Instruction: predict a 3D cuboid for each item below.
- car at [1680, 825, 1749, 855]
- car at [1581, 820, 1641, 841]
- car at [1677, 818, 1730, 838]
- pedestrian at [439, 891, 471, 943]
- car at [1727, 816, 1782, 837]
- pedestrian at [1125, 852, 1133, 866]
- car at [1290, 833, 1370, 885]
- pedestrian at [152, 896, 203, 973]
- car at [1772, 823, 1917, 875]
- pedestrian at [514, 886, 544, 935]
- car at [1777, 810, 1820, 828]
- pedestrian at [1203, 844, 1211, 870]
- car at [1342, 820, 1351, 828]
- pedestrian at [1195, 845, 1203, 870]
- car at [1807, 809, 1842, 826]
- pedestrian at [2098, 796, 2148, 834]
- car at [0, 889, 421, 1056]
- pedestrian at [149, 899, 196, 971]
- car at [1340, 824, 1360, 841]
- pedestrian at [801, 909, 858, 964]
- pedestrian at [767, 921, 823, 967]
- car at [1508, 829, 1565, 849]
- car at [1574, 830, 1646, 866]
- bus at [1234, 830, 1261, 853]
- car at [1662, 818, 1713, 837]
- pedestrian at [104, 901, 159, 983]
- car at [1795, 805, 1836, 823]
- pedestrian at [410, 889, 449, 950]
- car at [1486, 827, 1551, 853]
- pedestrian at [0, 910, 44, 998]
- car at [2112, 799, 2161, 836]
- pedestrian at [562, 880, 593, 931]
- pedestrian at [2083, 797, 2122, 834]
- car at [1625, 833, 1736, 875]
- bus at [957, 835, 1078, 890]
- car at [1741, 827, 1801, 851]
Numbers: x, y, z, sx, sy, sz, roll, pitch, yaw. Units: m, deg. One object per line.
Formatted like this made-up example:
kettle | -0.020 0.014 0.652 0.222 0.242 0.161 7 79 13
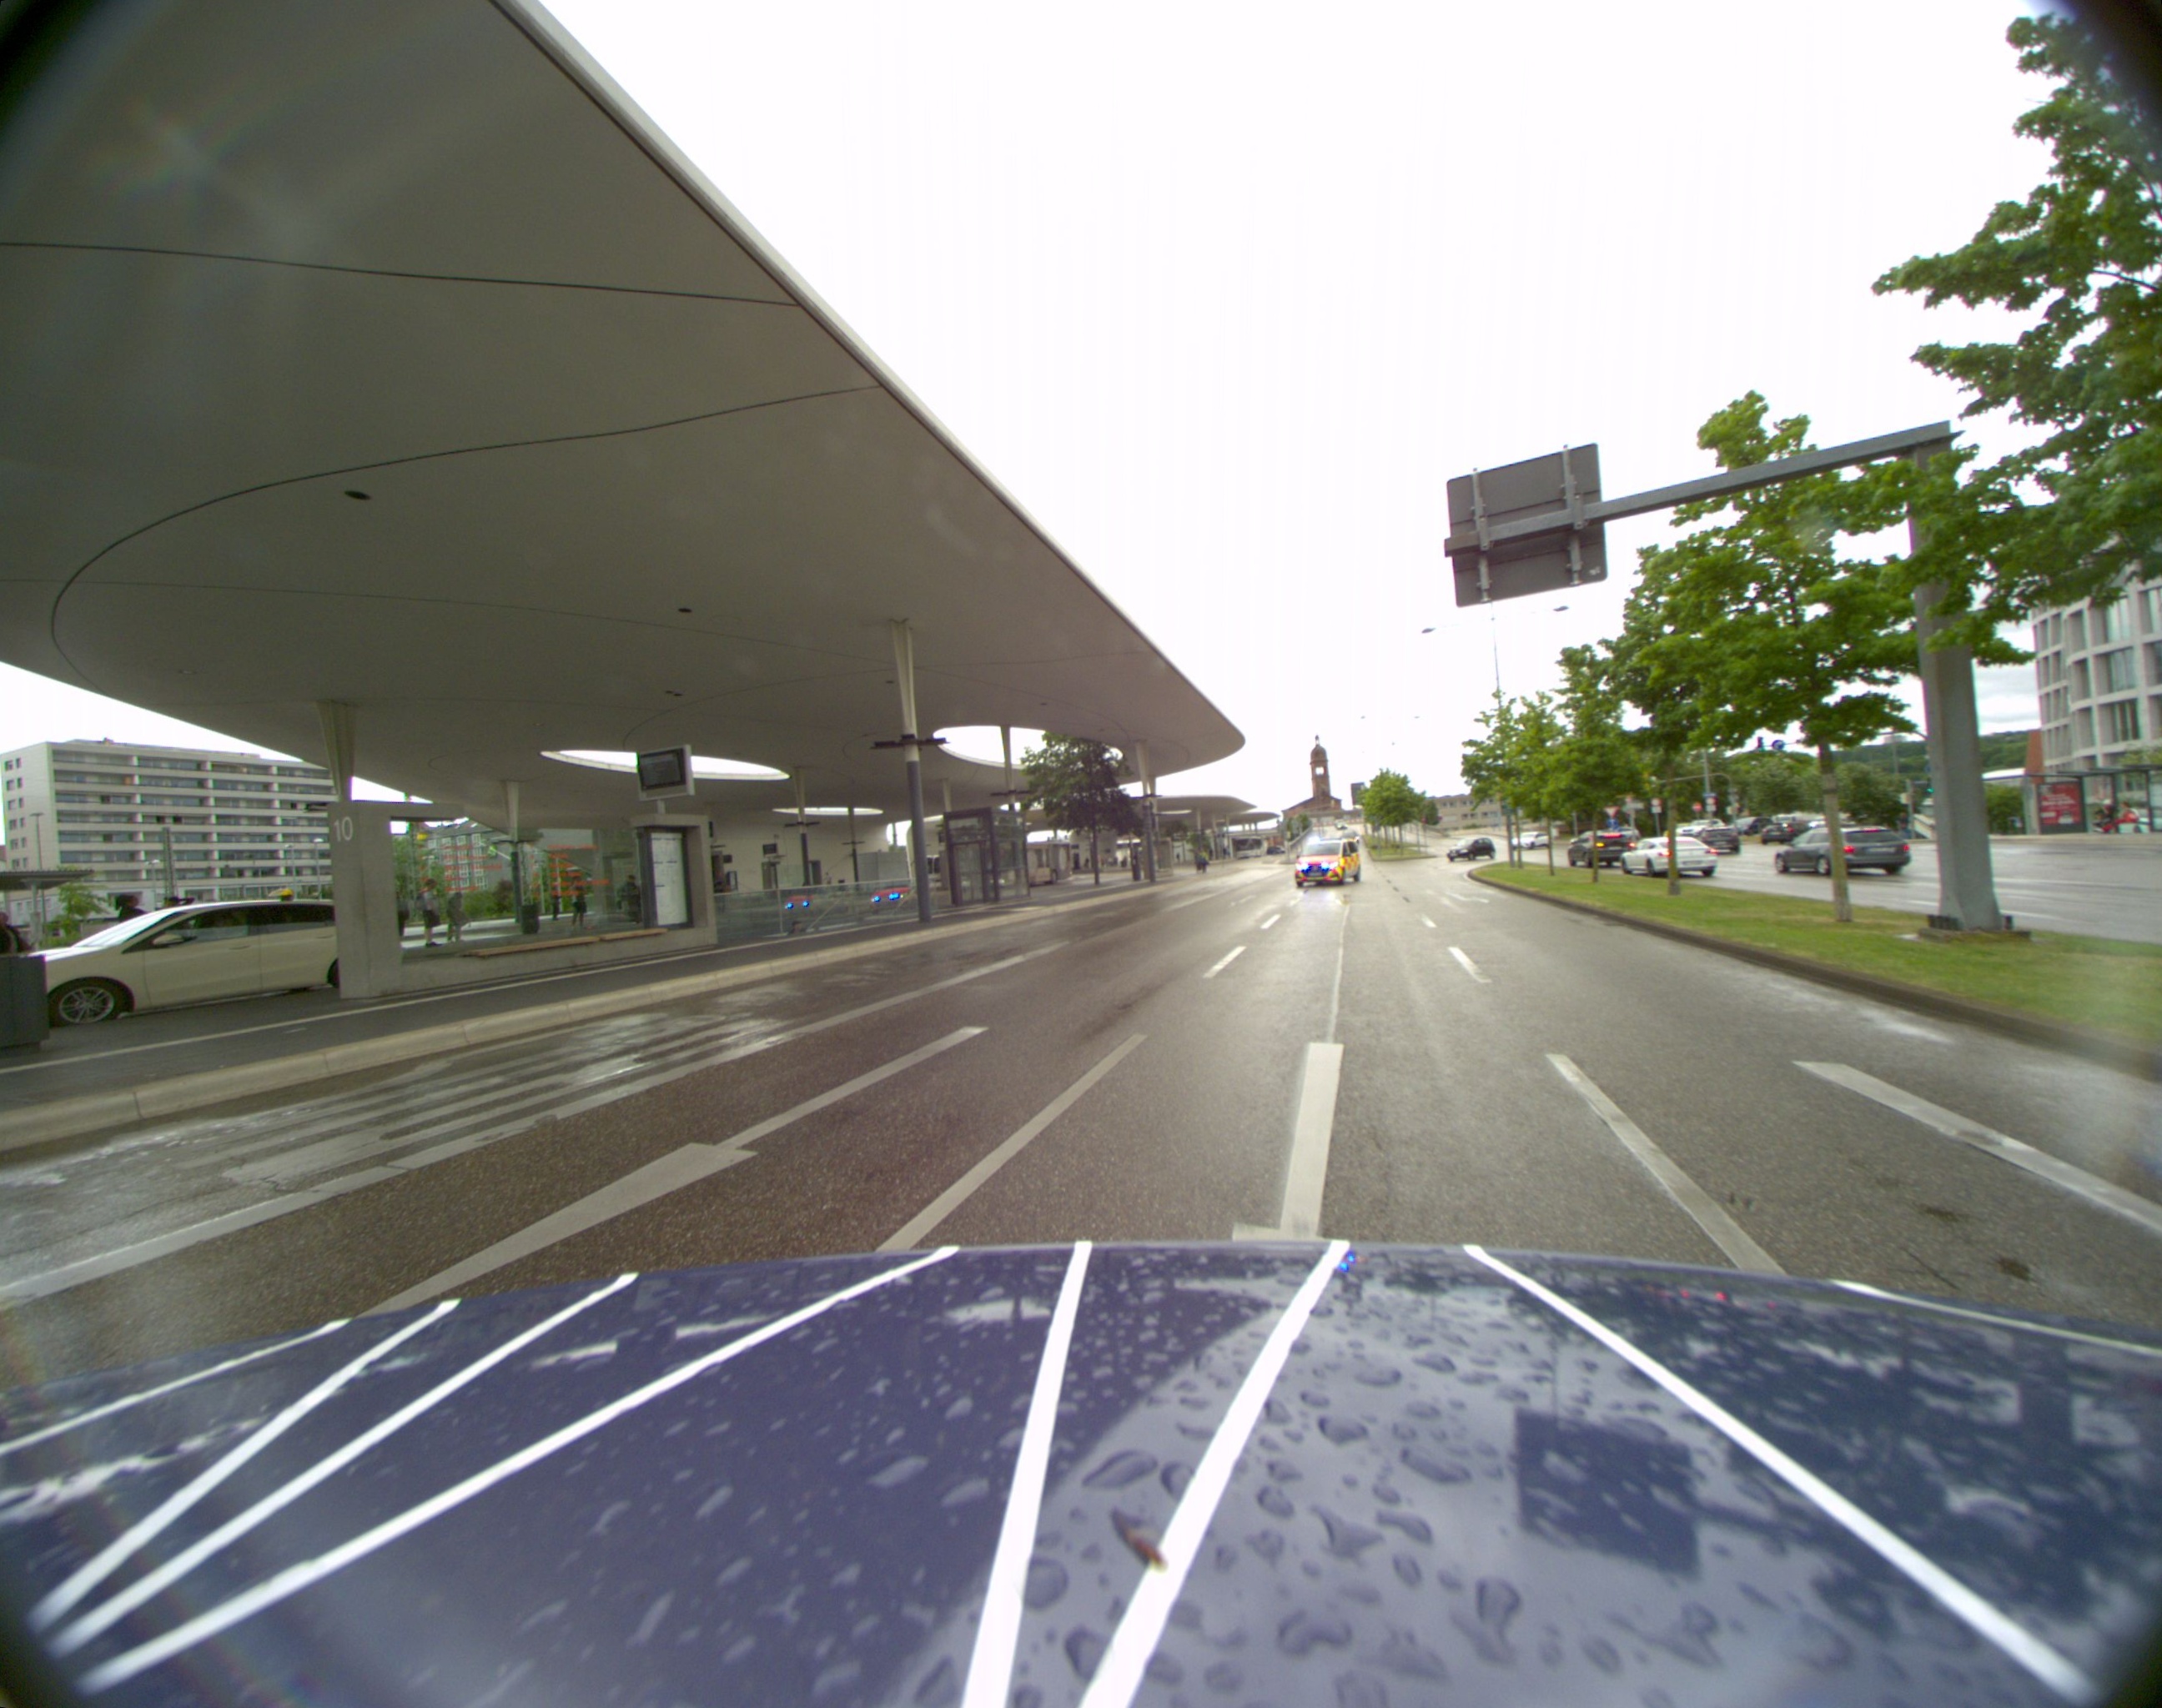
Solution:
car | 35.478 -0.802 42.666 1.882 1.545 4.007 -2 1 23
car | 49.444 -2.173 70.996 4.151 1.624 1.878 -3 0 9
car | 55.599 -2.342 67.849 4.305 1.625 1.873 -3 1 -23
pedestrian | -18.799 1.885 22.829 0.478 1.505 0.526 -3 1 24
car | 57.009 -2.340 64.336 4.162 1.625 1.873 -3 1 -23
pedestrian | 6.776 0.672 108.400 1.024 2.002 0.880 -2 1 1
car | 10.750 0.167 32.553 1.995 2.002 5.070 -2 1 32
pedestrian | -18.341 1.623 15.419 0.534 1.505 0.480 -3 1 25
car | 24.198 -0.194 24.294 1.696 1.457 4.458 -2 1 23
pedestrian | -17.626 1.810 24.262 0.478 1.505 0.526 -3 1 24
car | 70.023 -3.415 74.188 4.163 1.624 1.873 -3 0 -29
pedestrian | 8.672 0.220 52.176 0.445 1.753 0.538 -3 1 14
car | 54.610 -6.136 156.386 1.547 1.552 3.653 -2 1 15
pedestrian | 8.108 0.241 52.309 0.444 1.753 0.538 -3 1 14
car | 79.128 -3.897 80.837 4.164 1.625 1.872 -3 1 -35
pedestrian | 42.041 -1.562 30.674 0.982 1.481 0.735 -2 1 30
car | -13.005 1.522 11.148 1.996 1.671 4.547 -2 1 20
pedestrian | -19.898 1.764 16.644 0.480 1.505 0.534 -3 1 -35
car | 34.558 -2.721 97.702 1.996 2.002 4.004 -2 1 15
pedestrian | -6.290 2.046 19.020 0.881 1.268 0.959 -2 1 23
pedestrian | -7.289 2.277 19.380 0.881 1.048 0.959 -2 1 23
car | 40.009 -1.327 66.784 4.048 1.550 1.811 -2 1 -6
car | 25.232 -0.309 36.395 2.007 1.545 4.170 -2 1 23
bus | 24.955 -1.811 114.290 3.579 3.080 10.763 -3 0 12
car | 57.018 -2.498 71.459 4.305 1.625 1.873 -3 1 -23
pedestrian | -18.154 1.675 14.531 0.534 1.505 0.480 -3 1 25
car | 71.882 -3.917 74.318 4.163 1.625 1.872 -3 1 -32
pedestrian | -16.705 1.663 19.479 0.478 1.505 0.536 -3 1 24
car | 31.001 -0.987 53.805 4.162 1.692 1.873 -3 1 -25
pedestrian | -20.394 1.897 14.433 0.640 1.586 0.742 -1 1 35
car | 53.309 -1.842 37.620 4.162 1.692 1.873 -3 1 -25
pedestrian | -15.375 1.567 23.197 0.478 1.505 0.536 -3 1 24
pedestrian | 42.563 -1.594 31.673 0.732 1.481 0.735 -2 1 29
car | 21.649 -0.045 27.658 2.007 1.345 4.170 -2 1 21
bus | -3.695 0.373 49.165 2.872 3.064 11.937 -2 1 20
car | 48.054 -1.088 53.002 1.882 1.545 4.007 -2 1 23
